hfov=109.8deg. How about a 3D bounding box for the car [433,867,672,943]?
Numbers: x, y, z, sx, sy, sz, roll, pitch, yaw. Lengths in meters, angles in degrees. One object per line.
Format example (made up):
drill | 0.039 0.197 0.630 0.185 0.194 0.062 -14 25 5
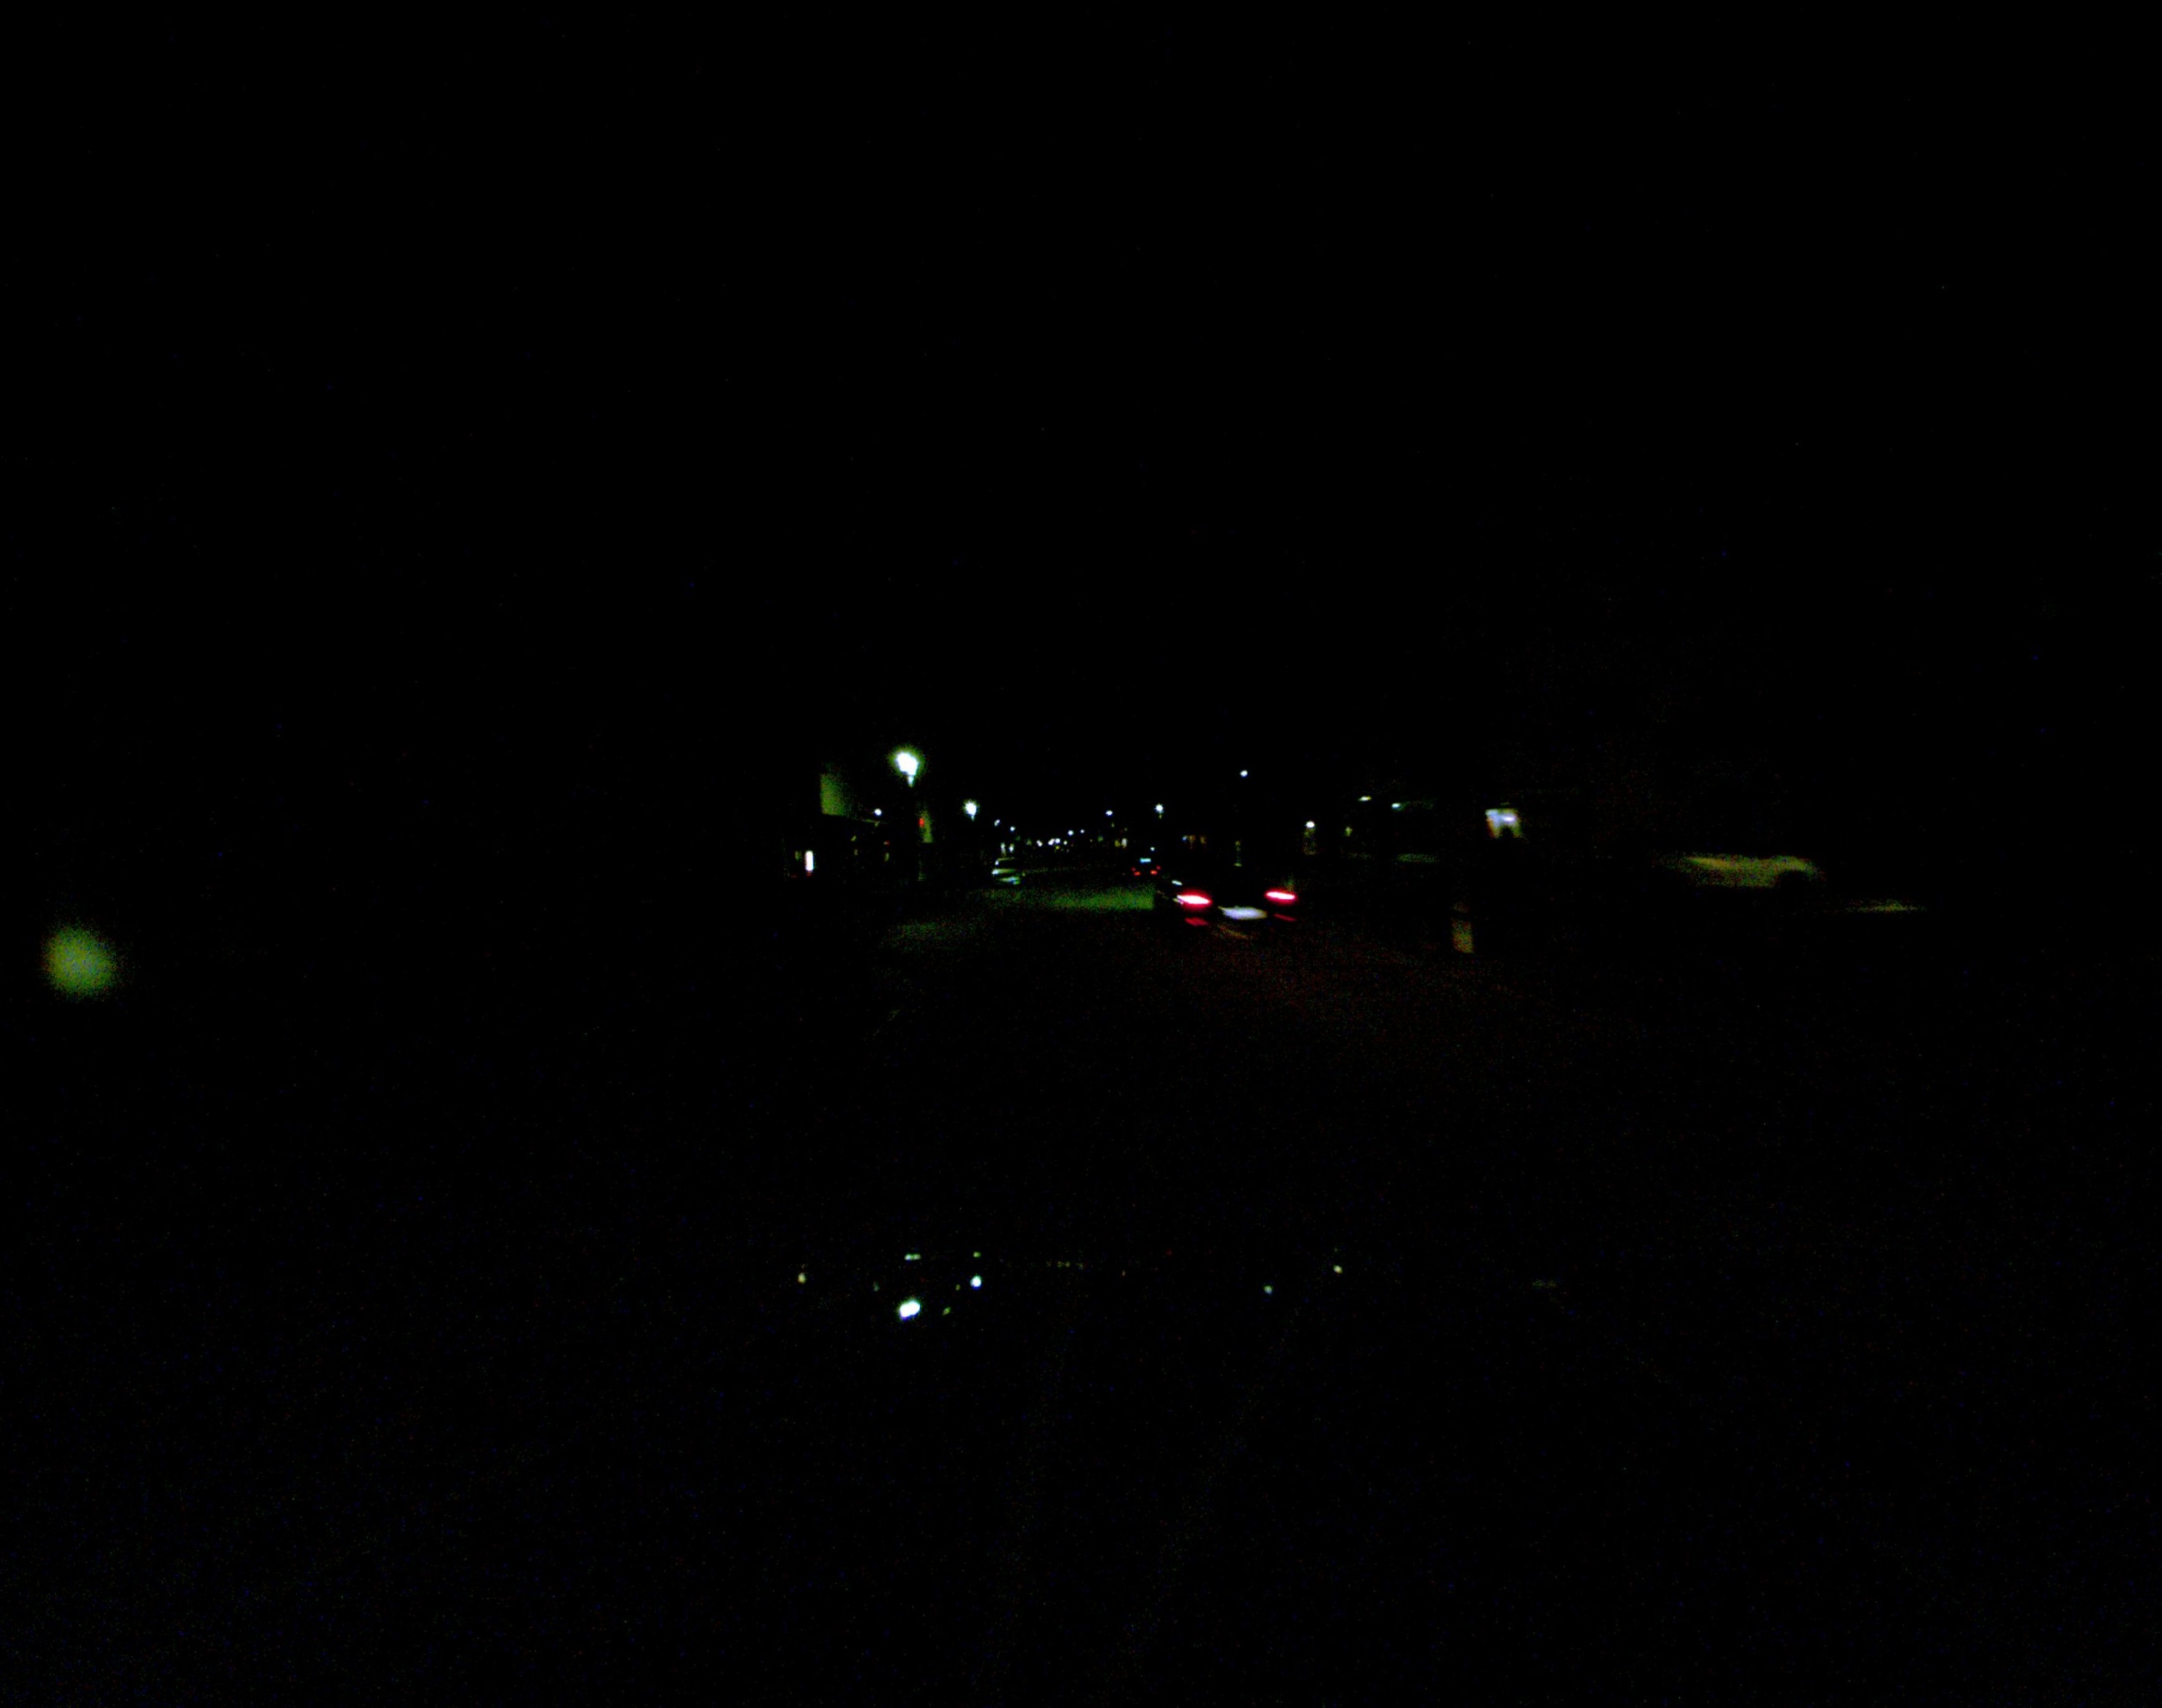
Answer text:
car | -10.037 0.946 14.639 3.403 1.275 1.644 2 0 -3

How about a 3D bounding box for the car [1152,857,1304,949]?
car | 2.432 0.753 13.551 1.822 1.271 3.915 -3 0 -1

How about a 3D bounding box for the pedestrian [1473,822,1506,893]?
pedestrian | 9.369 0.068 17.439 0.528 1.579 0.667 -3 1 21

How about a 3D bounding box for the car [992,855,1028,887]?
car | -3.645 0.840 39.555 1.606 1.474 3.698 -2 0 -3

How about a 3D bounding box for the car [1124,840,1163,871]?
car | 3.666 0.089 45.142 1.814 1.637 3.803 -4 1 -1

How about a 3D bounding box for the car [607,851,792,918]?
car | -9.785 0.767 19.697 3.916 1.578 1.644 2 0 -3

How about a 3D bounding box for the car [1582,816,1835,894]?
car | 12.848 0.010 15.728 3.833 1.408 1.652 -2 1 1

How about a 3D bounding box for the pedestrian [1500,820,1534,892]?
pedestrian | 9.891 0.034 17.239 0.528 1.579 0.667 -3 1 21
